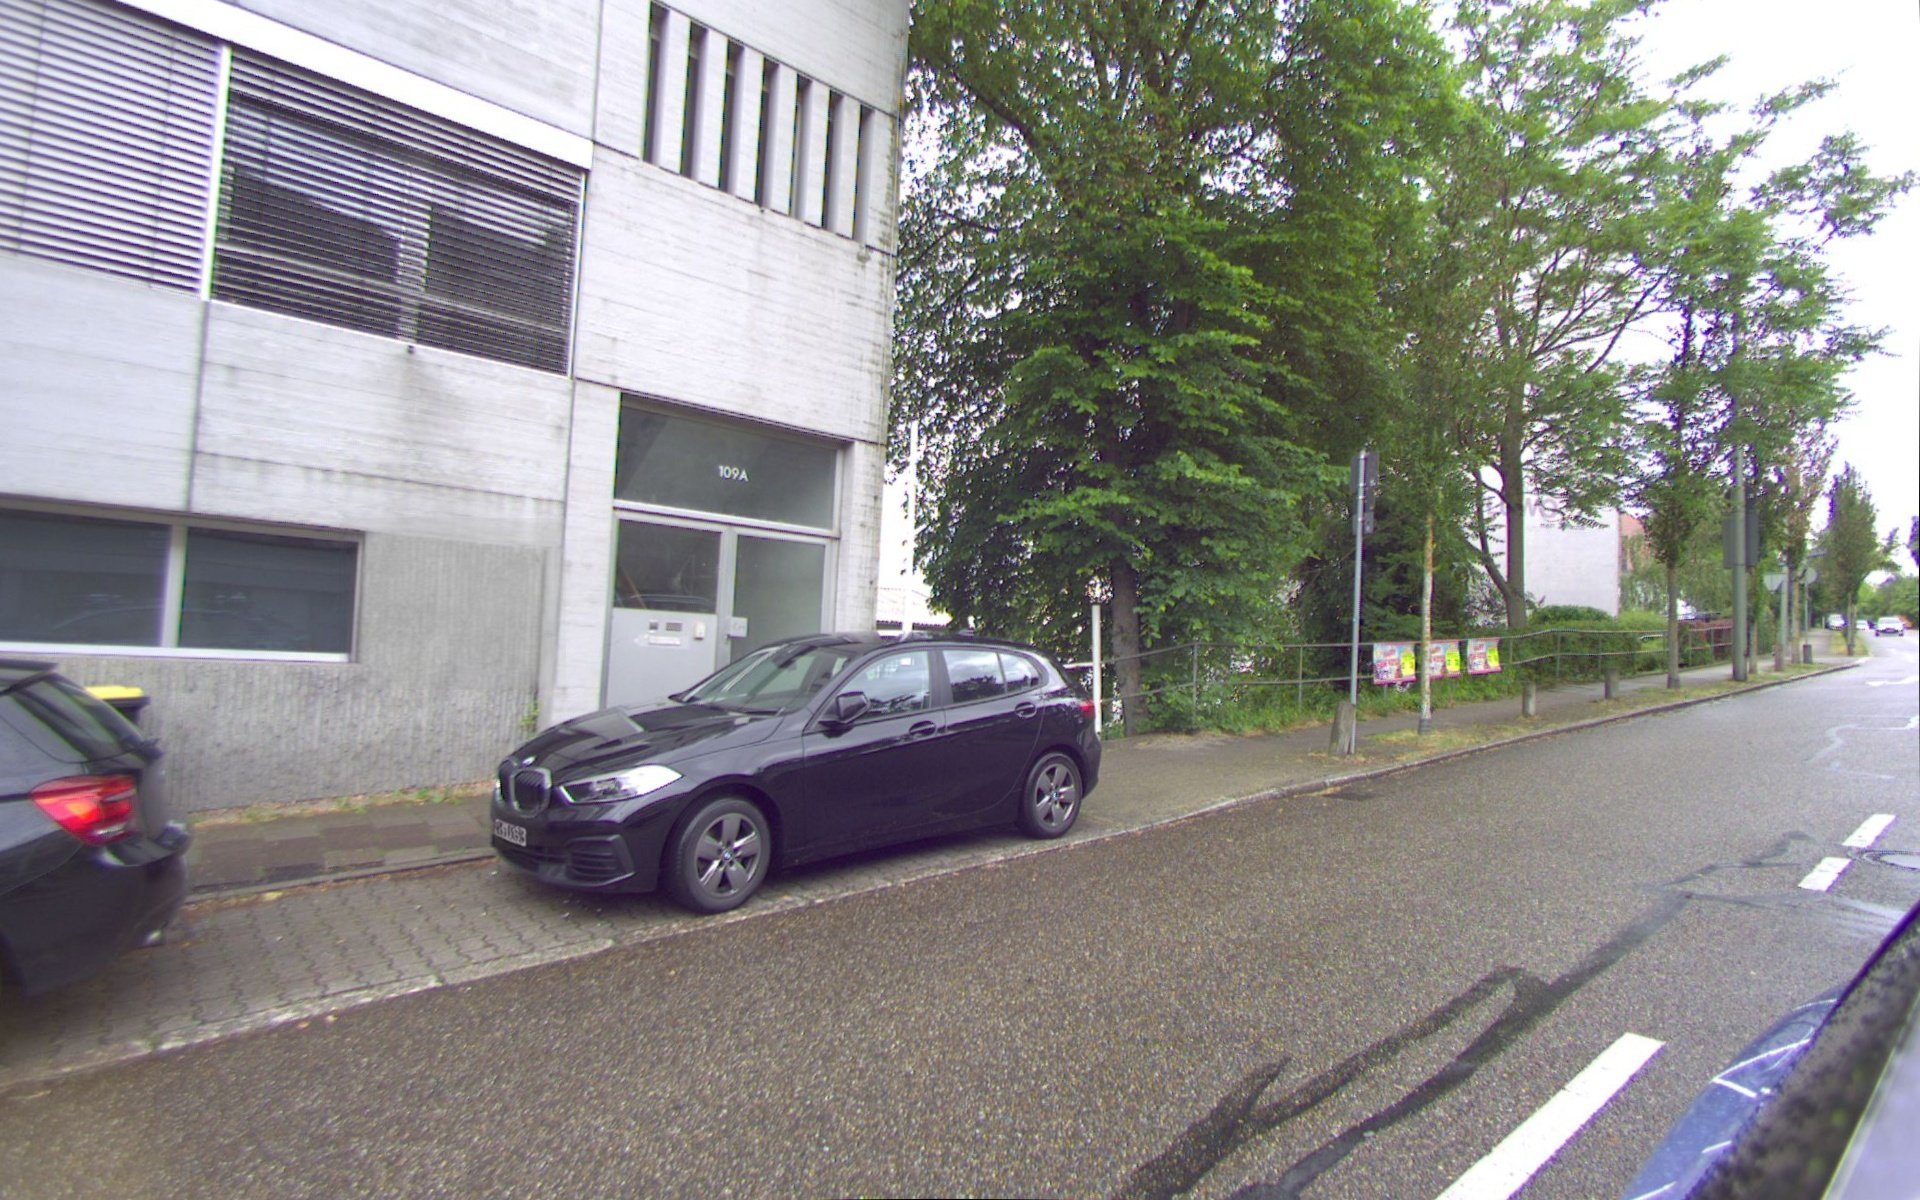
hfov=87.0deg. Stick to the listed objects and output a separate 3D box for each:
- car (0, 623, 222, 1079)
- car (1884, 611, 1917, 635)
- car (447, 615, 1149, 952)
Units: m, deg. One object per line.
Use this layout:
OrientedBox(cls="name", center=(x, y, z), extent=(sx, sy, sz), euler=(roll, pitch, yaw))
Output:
OrientedBox(cls="car", center=(-4.913, 0.853, 3.151), extent=(4.173, 1.466, 1.753), euler=(0, 0, -38))
OrientedBox(cls="car", center=(76.014, 1.868, 81.812), extent=(1.887, 1.741, 4.171), euler=(2, 2, 44))
OrientedBox(cls="car", center=(-0.849, 0.884, 6.911), extent=(4.367, 1.453, 1.996), euler=(0, 1, -43))
